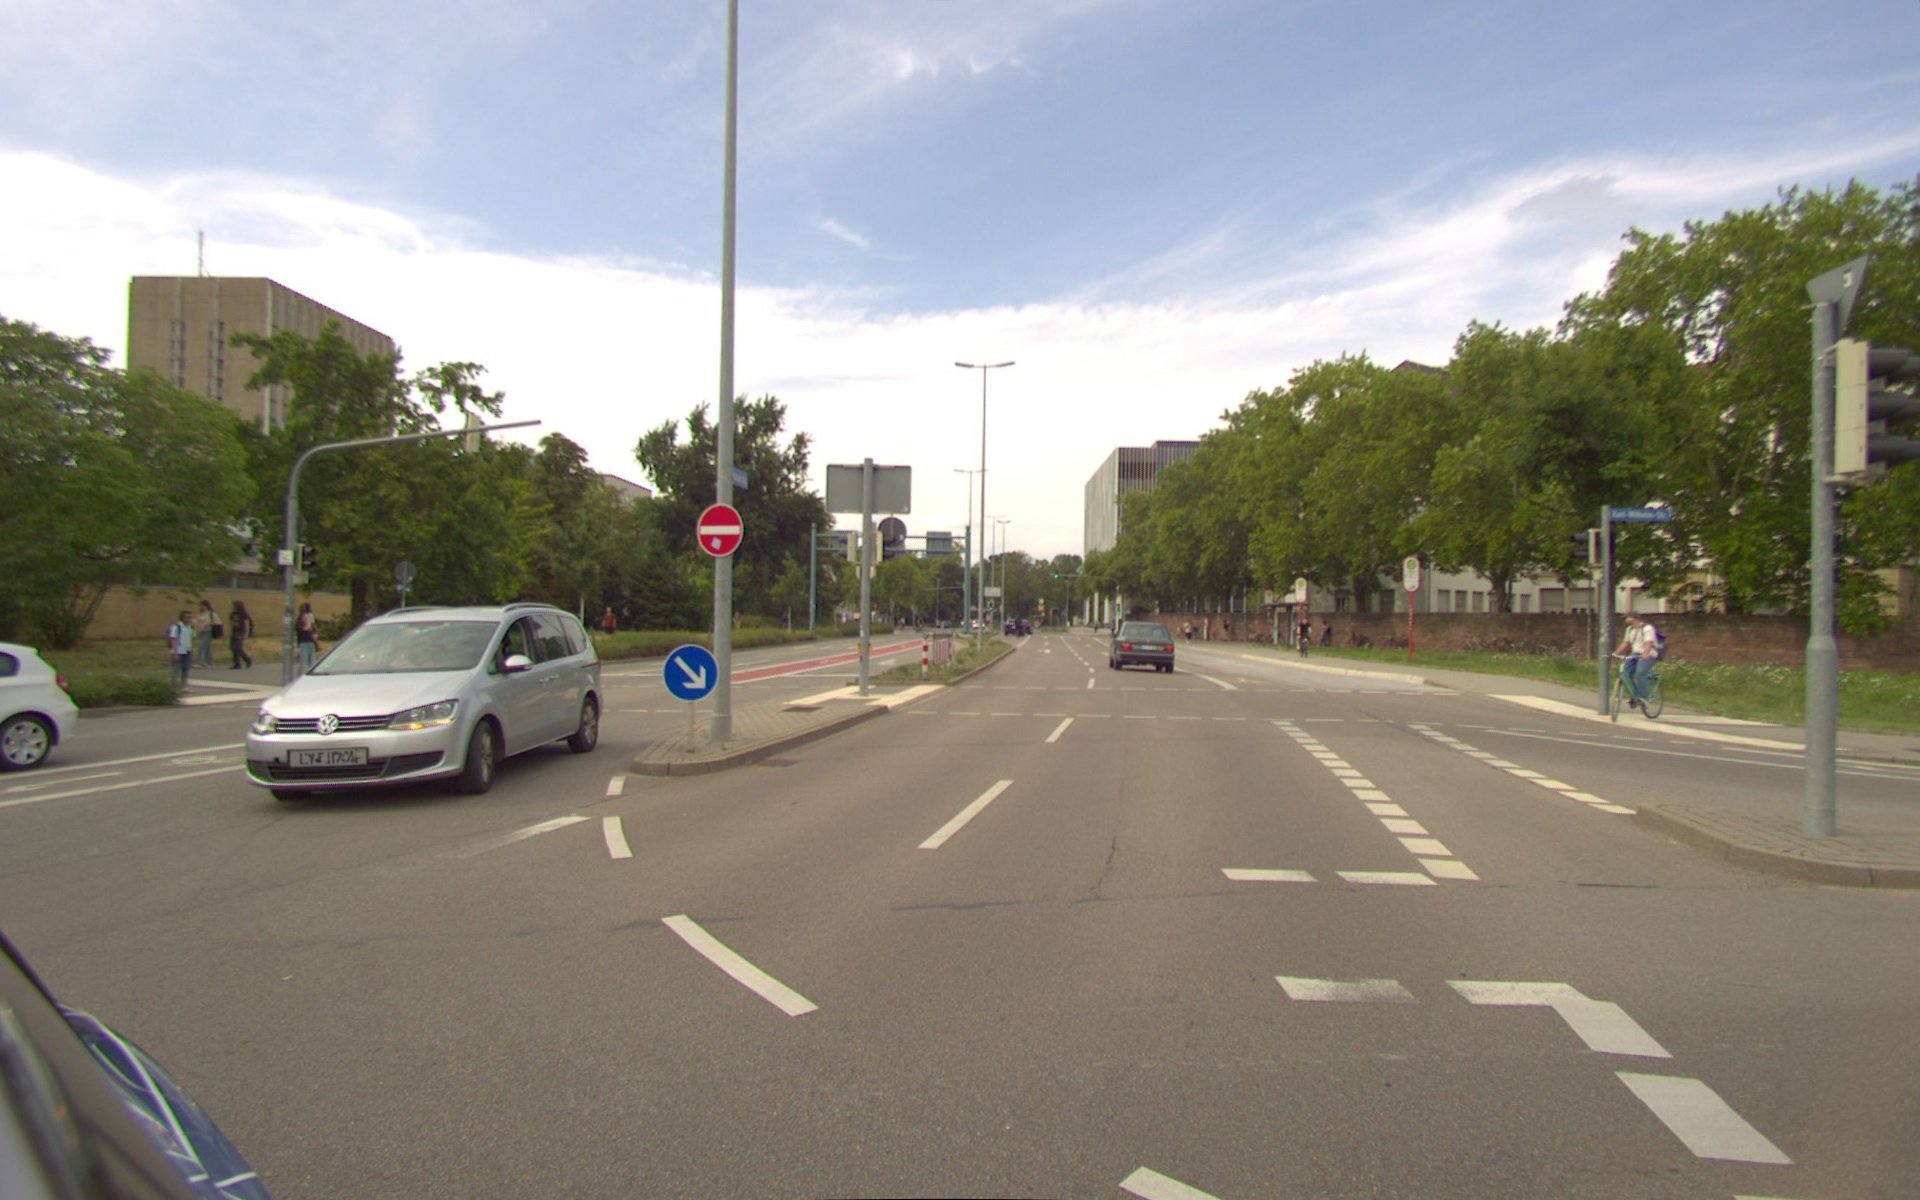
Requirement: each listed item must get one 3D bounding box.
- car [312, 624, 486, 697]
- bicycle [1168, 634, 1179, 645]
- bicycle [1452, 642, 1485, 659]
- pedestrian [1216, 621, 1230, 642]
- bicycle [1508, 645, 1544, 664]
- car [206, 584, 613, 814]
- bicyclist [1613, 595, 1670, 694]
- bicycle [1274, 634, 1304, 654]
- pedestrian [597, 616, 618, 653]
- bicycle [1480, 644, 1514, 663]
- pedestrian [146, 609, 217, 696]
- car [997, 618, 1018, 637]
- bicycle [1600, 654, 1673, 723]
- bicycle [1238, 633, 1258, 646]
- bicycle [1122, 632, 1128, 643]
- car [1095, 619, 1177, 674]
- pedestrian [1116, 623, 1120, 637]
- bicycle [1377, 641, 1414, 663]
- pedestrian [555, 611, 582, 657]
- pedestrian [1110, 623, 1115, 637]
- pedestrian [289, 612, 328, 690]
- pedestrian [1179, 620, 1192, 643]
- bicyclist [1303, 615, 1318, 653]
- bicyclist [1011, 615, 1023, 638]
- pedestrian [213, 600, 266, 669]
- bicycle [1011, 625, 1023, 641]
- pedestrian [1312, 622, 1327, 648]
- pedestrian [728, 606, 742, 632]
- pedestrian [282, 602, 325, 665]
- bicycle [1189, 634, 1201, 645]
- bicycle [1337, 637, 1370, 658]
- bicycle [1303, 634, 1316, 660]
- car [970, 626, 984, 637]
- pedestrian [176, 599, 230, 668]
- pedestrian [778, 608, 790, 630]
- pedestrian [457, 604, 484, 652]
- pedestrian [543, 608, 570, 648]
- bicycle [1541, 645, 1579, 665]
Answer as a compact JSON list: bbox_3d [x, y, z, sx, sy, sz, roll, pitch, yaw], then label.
[{"bbox_3d":[-12.238,1.277,22.339,1.652,1.426,3.449,-1,-1,7],"label":"car"},{"bbox_3d":[19.096,3.533,90.497,0.426,0.894,1.578,-2,-2,-6],"label":"bicycle"},{"bbox_3d":[27.032,2.675,53.800,0.352,0.870,1.828,4,-2,-18],"label":"bicycle"},{"bbox_3d":[20.511,2.442,78.875,0.742,1.634,0.667,0,-2,-36],"label":"pedestrian"},{"bbox_3d":[28.068,2.695,50.207,0.353,0.870,1.896,3,-2,-14],"label":"bicycle"},{"bbox_3d":[-5.047,0.808,10.124,1.798,1.747,4.531,-1,-1,-3],"label":"car"},{"bbox_3d":[11.084,0.703,16.460,0.785,1.567,0.581,0,1,-42],"label":"bicyclist"},{"bbox_3d":[21.729,2.925,66.856,2.063,1.198,0.761,4,-3,-34],"label":"bicycle"},{"bbox_3d":[-16.730,1.615,48.000,0.705,1.724,0.694,-1,-1,5],"label":"pedestrian"},{"bbox_3d":[27.582,2.739,52.030,0.353,0.870,1.815,3,-2,-16],"label":"bicycle"},{"bbox_3d":[-15.788,1.048,20.535,0.791,1.724,0.837,-1,-1,10],"label":"pedestrian"},{"bbox_3d":[4.275,2.445,90.788,1.767,1.500,4.124,3,-1,4],"label":"car"},{"bbox_3d":[10.936,1.399,16.336,1.941,0.943,0.507,0,1,-42],"label":"bicycle"},{"bbox_3d":[21.232,2.907,74.638,0.650,0.894,1.580,-2,-2,-15],"label":"bicycle"},{"bbox_3d":[18.182,4.120,111.833,0.507,1.218,1.394,-1,-1,4],"label":"bicycle"},{"bbox_3d":[5.150,1.313,30.078,1.677,1.491,4.414,-1,-1,1],"label":"car"},{"bbox_3d":[16.600,3.126,106.327,0.396,1.468,0.473,-1,-1,-1],"label":"pedestrian"},{"bbox_3d":[25.174,3.009,58.560,0.746,1.198,2.105,4,-2,-17],"label":"bicycle"},{"bbox_3d":[-15.087,1.306,38.992,0.726,1.724,0.691,-1,-1,8],"label":"pedestrian"},{"bbox_3d":[15.976,3.118,106.104,0.396,1.468,0.473,-1,-1,-1],"label":"pedestrian"},{"bbox_3d":[-14.657,1.144,22.773,0.476,1.724,0.586,-1,-1,10],"label":"pedestrian"},{"bbox_3d":[16.538,2.303,74.250,0.744,1.634,0.666,-1,-1,-1],"label":"pedestrian"},{"bbox_3d":[14.739,1.437,42.567,0.575,1.567,0.793,0,0,19],"label":"bicyclist"},{"bbox_3d":[4.531,2.118,80.366,0.769,1.724,1.083,2,-2,7],"label":"bicyclist"},{"bbox_3d":[-18.331,0.865,25.771,0.826,1.724,0.801,-1,-1,-10],"label":"pedestrian"},{"bbox_3d":[4.514,2.656,80.297,0.749,1.198,2.094,3,-2,7],"label":"bicycle"},{"bbox_3d":[23.267,2.261,65.477,0.559,1.634,0.757,-1,-1,-17],"label":"pedestrian"},{"bbox_3d":[-15.116,1.268,68.086,0.705,1.724,0.694,-1,-1,5],"label":"pedestrian"},{"bbox_3d":[-18.602,0.942,28.698,0.705,1.724,0.799,-1,-1,1],"label":"pedestrian"},{"bbox_3d":[19.658,3.322,84.753,0.426,0.894,1.578,-2,-2,-6],"label":"bicycle"},{"bbox_3d":[24.189,2.896,62.276,0.746,1.198,2.105,4,-2,-17],"label":"bicycle"},{"bbox_3d":[14.695,1.963,42.566,0.502,0.943,1.960,0,1,18],"label":"bicycle"},{"bbox_3d":[2.606,4.697,152.905,1.767,1.500,4.124,3,-1,4],"label":"car"},{"bbox_3d":[-19.188,0.844,25.658,0.826,1.724,0.801,-1,-1,-10],"label":"pedestrian"},{"bbox_3d":[-13.684,1.468,78.751,0.705,1.724,0.694,-1,-1,5],"label":"pedestrian"},{"bbox_3d":[-17.874,1.009,36.970,0.537,1.709,0.695,2,-1,1],"label":"pedestrian"},{"bbox_3d":[-17.306,1.199,43.419,0.831,1.724,0.694,-1,-1,1],"label":"pedestrian"},{"bbox_3d":[28.952,2.653,48.851,0.352,0.870,1.714,4,-2,-21],"label":"bicycle"}]
